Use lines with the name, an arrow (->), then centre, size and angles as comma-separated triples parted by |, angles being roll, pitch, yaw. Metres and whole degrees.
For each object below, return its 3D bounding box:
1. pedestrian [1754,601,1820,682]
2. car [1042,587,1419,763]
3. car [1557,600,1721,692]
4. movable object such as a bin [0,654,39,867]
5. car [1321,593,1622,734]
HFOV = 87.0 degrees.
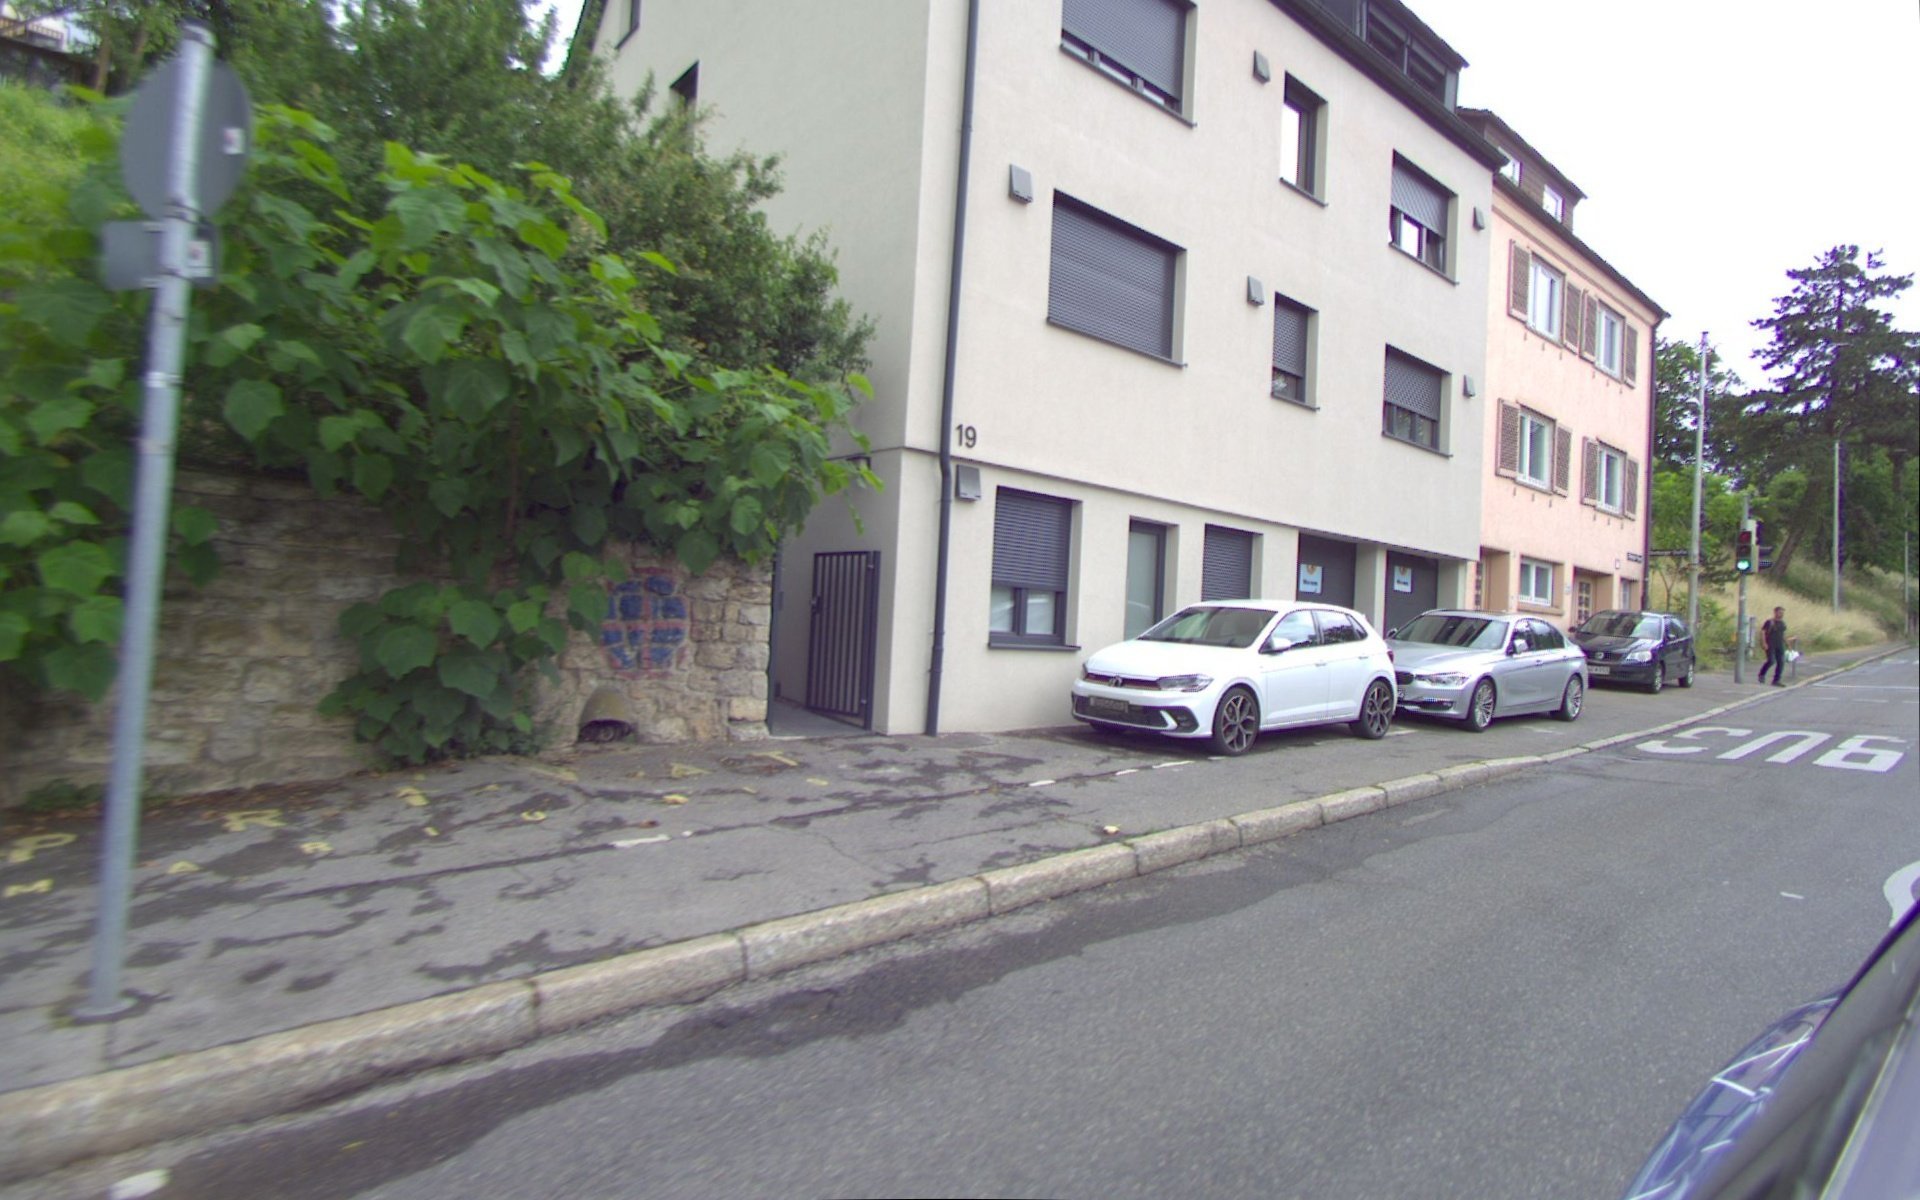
pedestrian -> 18.062, 0.885, 22.123 | 0.862, 1.717, 0.883 | 1, 0, 21
car -> 2.923, 0.656, 10.574 | 3.932, 1.441, 1.799 | 1, 2, -39
car -> 13.211, 0.809, 19.612 | 3.932, 1.468, 1.685 | 0, 4, -43
movable object such as a bin -> -4.825, 0.766, 4.820 | 0.629, 0.954, 0.595 | 0, 1, -41
car -> 6.959, 0.765, 13.547 | 4.633, 1.468, 1.799 | 2, 3, -39
